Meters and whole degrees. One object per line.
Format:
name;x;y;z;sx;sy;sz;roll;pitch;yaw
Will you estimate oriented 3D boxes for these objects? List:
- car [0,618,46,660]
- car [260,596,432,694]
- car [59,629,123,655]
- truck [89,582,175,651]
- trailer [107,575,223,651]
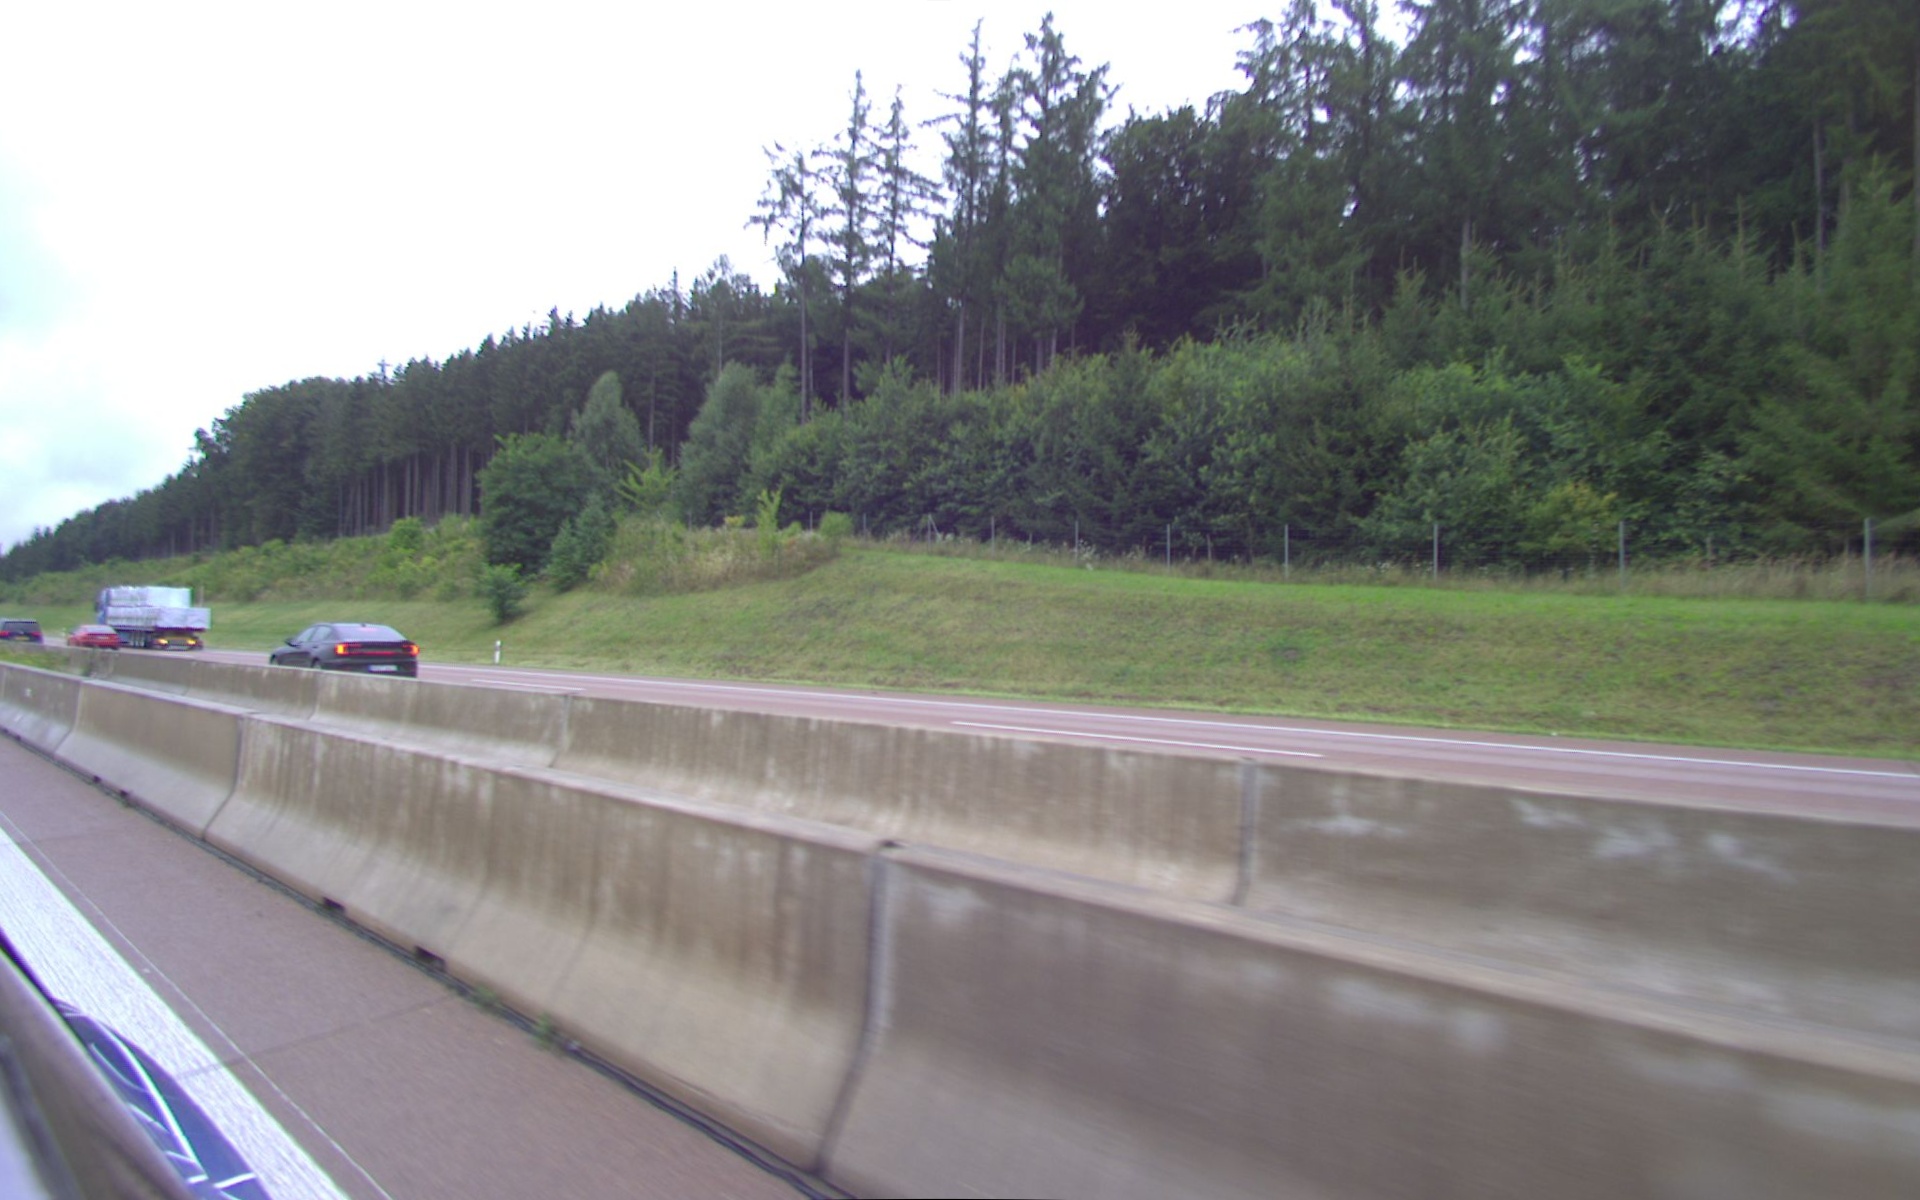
car;-47.243;1.878;50.347;6.233;1.855;1.800;0;1;40
car;-13.441;0.852;21.996;5.320;1.870;1.757;0;1;42
car;-47.502;2.261;55.281;5.110;1.380;1.800;-1;-2;40
truck;-56.364;1.237;68.846;7.642;4.354;2.934;-2;-6;40
trailer;-50.189;0.980;63.678;12.933;4.309;2.903;-2;-5;40
